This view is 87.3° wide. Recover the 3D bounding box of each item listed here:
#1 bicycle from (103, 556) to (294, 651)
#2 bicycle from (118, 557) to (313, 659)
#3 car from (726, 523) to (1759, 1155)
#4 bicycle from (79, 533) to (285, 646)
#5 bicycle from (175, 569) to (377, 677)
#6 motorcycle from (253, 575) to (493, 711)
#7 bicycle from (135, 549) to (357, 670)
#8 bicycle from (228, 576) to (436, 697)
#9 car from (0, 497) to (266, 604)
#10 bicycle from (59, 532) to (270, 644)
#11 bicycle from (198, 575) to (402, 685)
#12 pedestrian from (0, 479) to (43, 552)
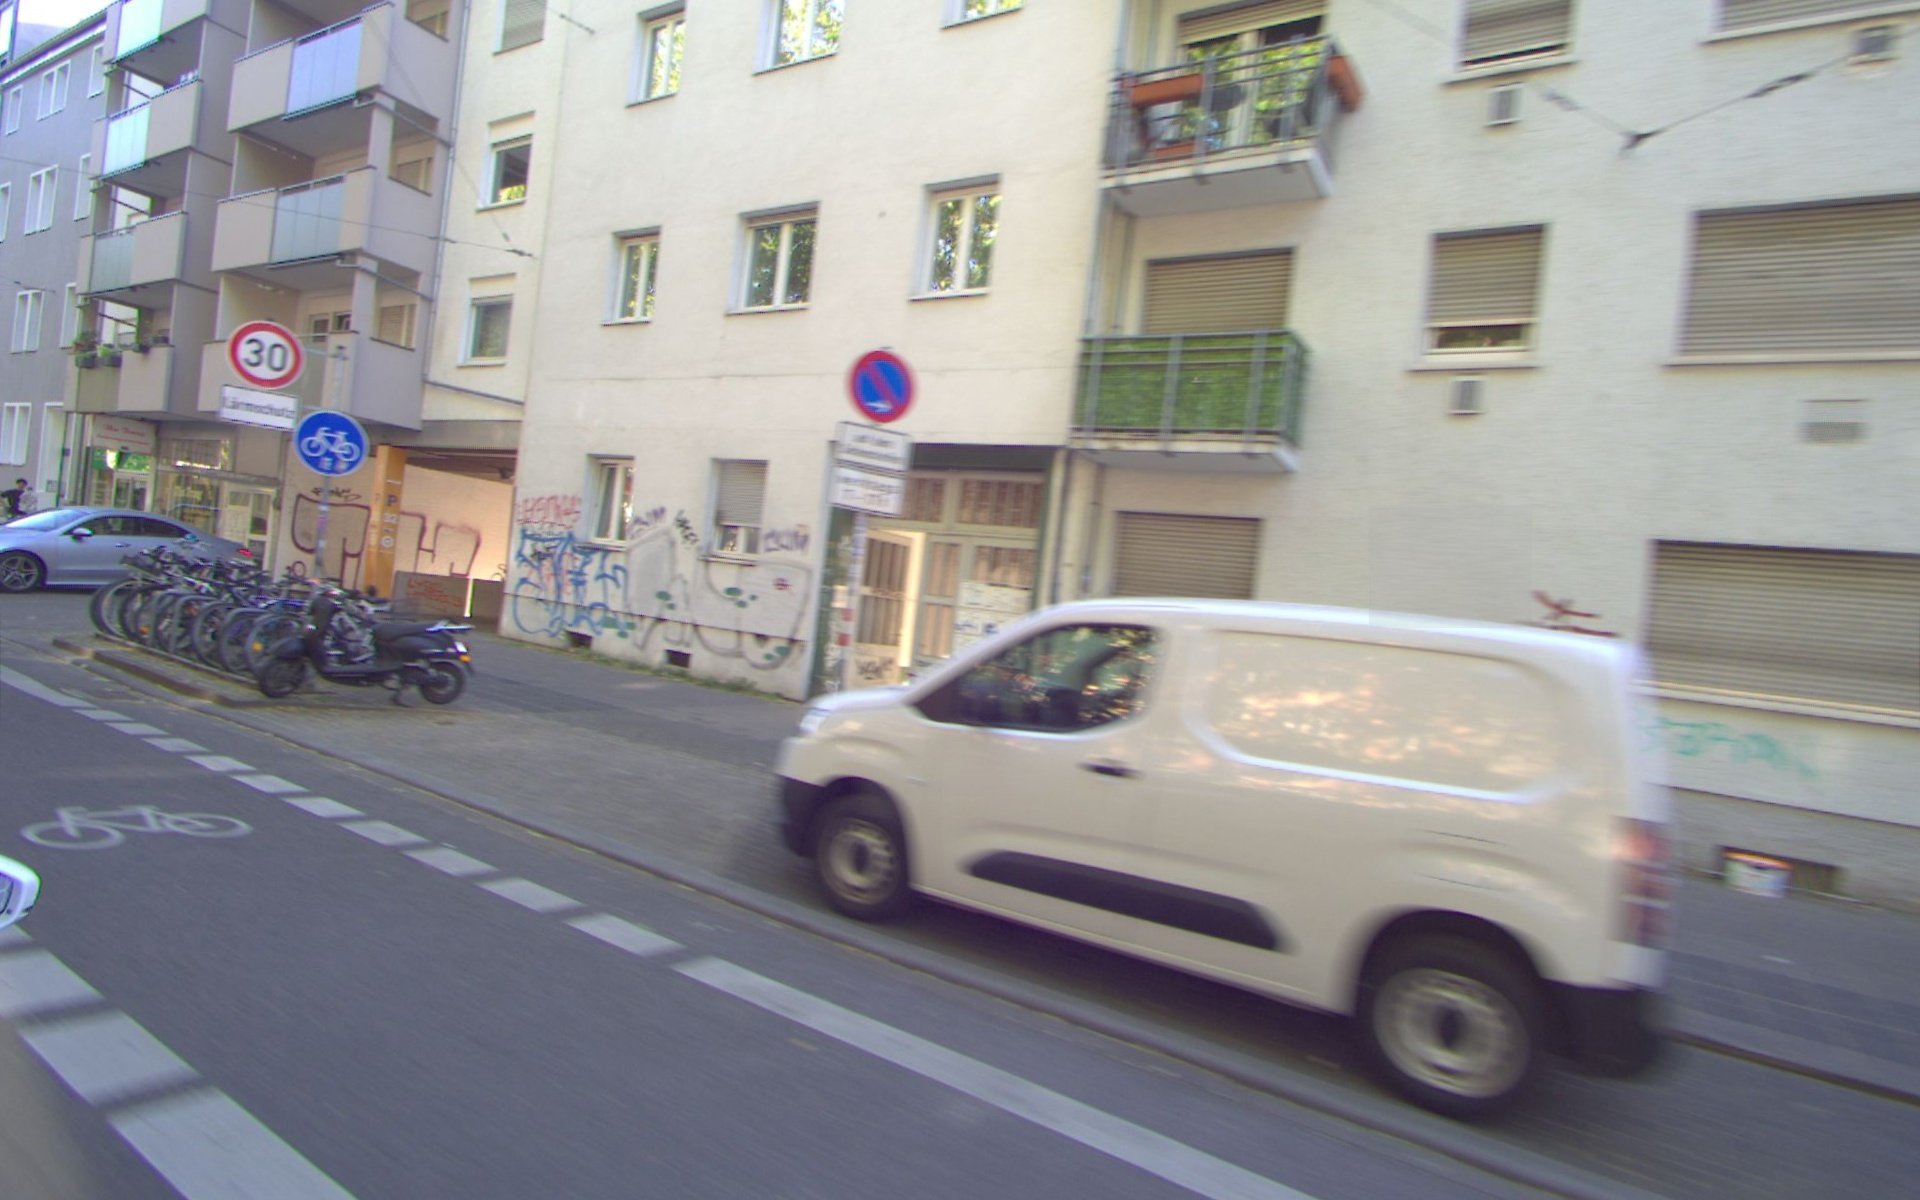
[{"bbox_3d":[-8.681,0.070,11.546,0.449,0.979,1.653,7,2,32],"label":"bicycle"},{"bbox_3d":[-8.288,0.113,11.271,0.449,1.034,1.653,7,2,32],"label":"bicycle"},{"bbox_3d":[1.082,0.698,5.090,4.279,1.845,1.858,6,2,32],"label":"car"},{"bbox_3d":[-9.073,-0.085,11.817,0.449,1.207,1.824,7,2,32],"label":"bicycle"},{"bbox_3d":[-7.083,0.255,10.501,0.449,1.000,1.653,7,2,32],"label":"bicycle"},{"bbox_3d":[-5.422,0.417,9.356,1.807,1.093,0.611,6,1,-35],"label":"motorcycle"},{"bbox_3d":[-7.714,0.124,10.951,0.693,1.163,1.794,7,2,32],"label":"bicycle"},{"bbox_3d":[-6.139,0.366,9.925,0.449,1.069,1.653,7,2,32],"label":"bicycle"},{"bbox_3d":[-14.645,-0.834,16.882,1.830,1.456,4.625,7,1,21],"label":"car"},{"bbox_3d":[-9.484,-0.106,12.082,0.449,1.207,1.893,7,2,32],"label":"bicycle"},{"bbox_3d":[-6.660,0.317,10.235,0.449,1.000,1.653,7,2,32],"label":"bicycle"},{"bbox_3d":[-24.193,-2.161,25.756,0.708,1.741,0.757,7,1,31],"label":"pedestrian"}]
